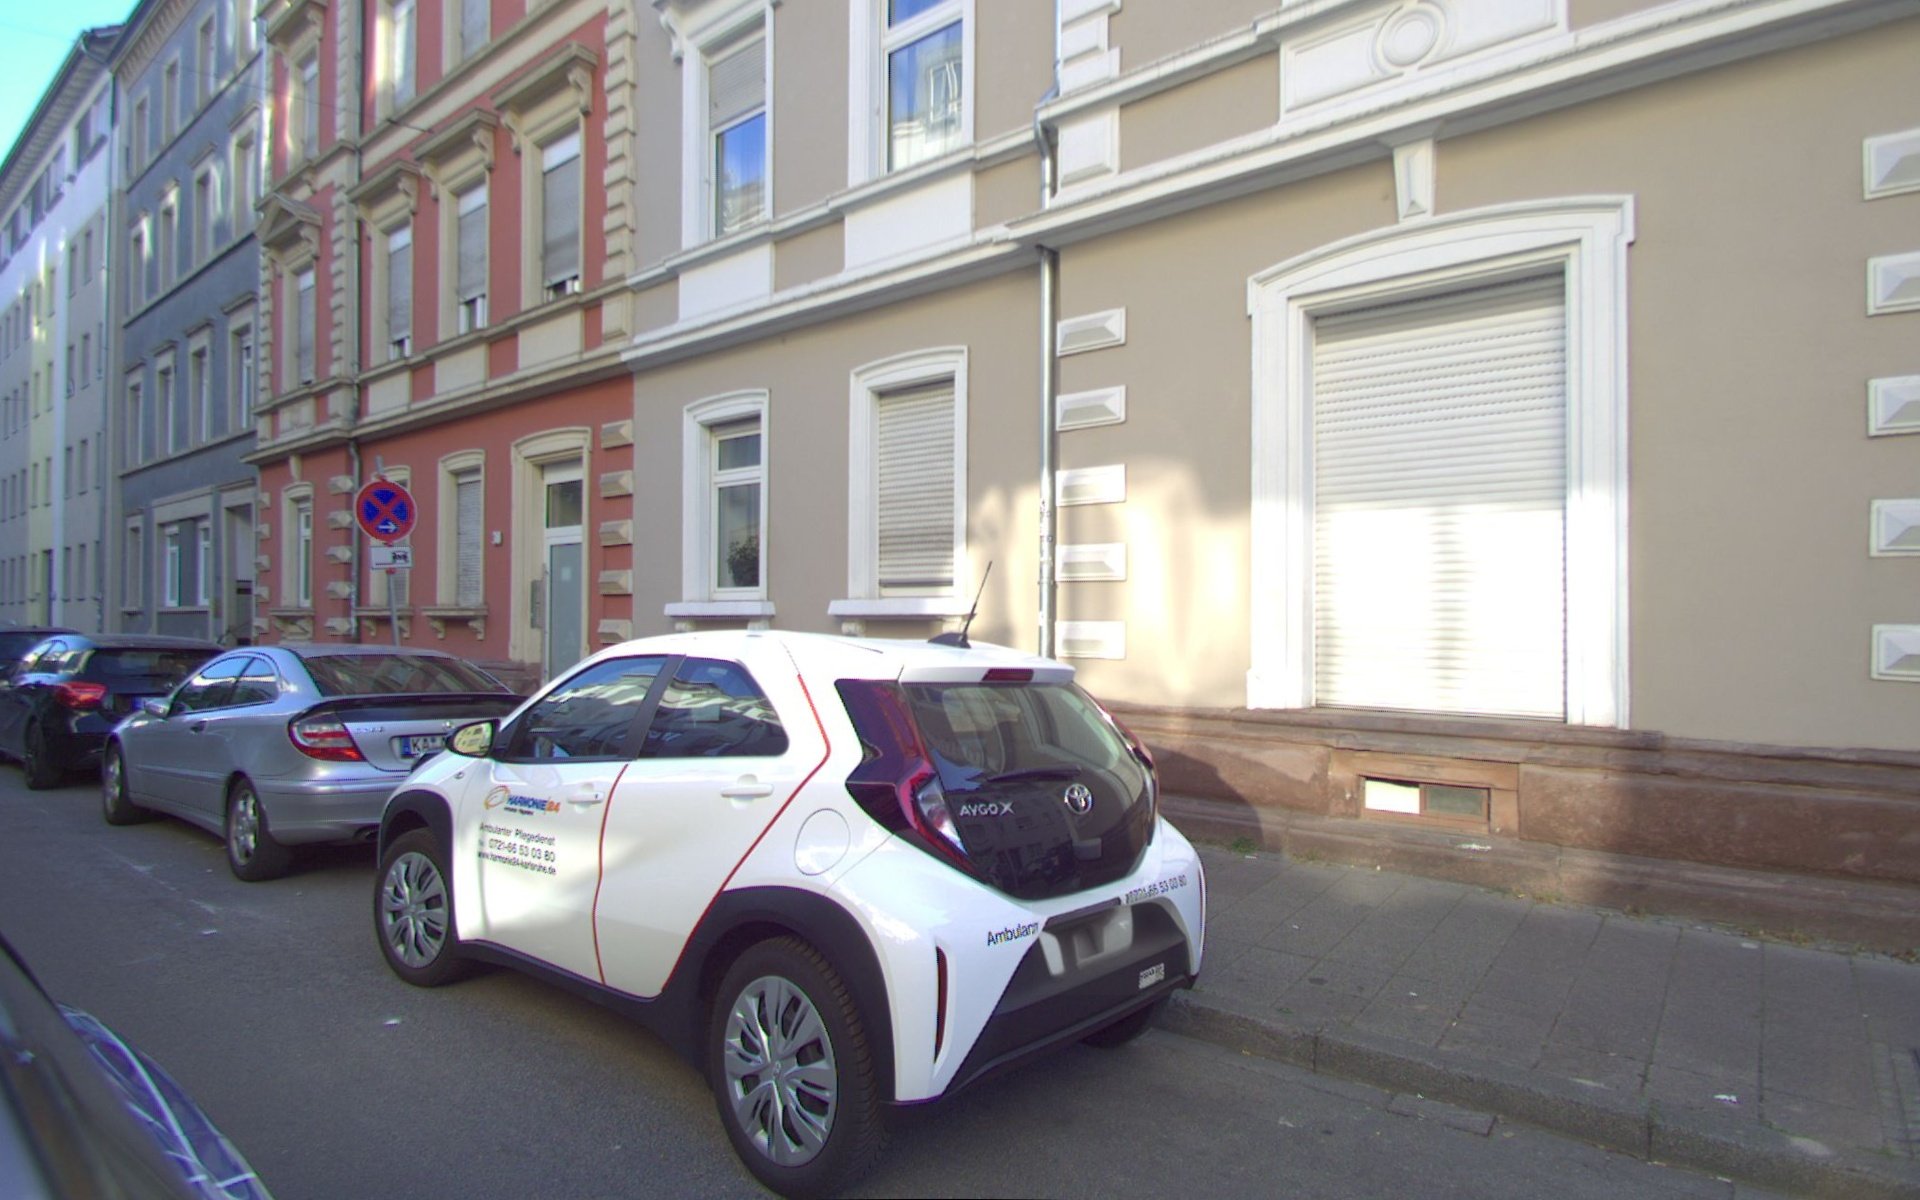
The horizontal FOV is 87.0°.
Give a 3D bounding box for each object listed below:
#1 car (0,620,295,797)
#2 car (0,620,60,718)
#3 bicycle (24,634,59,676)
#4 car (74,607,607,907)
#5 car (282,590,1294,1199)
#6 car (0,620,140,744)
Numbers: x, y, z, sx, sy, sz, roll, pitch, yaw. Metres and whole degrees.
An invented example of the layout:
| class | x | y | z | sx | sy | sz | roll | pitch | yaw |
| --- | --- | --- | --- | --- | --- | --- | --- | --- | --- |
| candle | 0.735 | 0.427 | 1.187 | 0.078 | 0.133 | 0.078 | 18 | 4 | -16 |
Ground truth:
| class | x | y | z | sx | sy | sz | roll | pitch | yaw |
| --- | --- | --- | --- | --- | --- | --- | --- | --- | --- |
| car | -8.953 | 1.017 | 10.687 | 4.261 | 1.495 | 1.902 | -2 | -4 | 38 |
| car | -17.338 | 1.147 | 17.467 | 4.261 | 1.572 | 1.902 | -2 | -4 | 38 |
| bicycle | -25.152 | 1.483 | 27.704 | 1.750 | 1.082 | 0.446 | -1 | -1 | 39 |
| car | -4.668 | 0.922 | 7.411 | 4.261 | 1.572 | 1.902 | -2 | -4 | 38 |
| car | -1.032 | 0.838 | 4.280 | 4.263 | 1.519 | 1.901 | -2 | -4 | 40 |
| car | -13.565 | 1.109 | 14.476 | 4.234 | 1.572 | 1.883 | -2 | -4 | 38 |
